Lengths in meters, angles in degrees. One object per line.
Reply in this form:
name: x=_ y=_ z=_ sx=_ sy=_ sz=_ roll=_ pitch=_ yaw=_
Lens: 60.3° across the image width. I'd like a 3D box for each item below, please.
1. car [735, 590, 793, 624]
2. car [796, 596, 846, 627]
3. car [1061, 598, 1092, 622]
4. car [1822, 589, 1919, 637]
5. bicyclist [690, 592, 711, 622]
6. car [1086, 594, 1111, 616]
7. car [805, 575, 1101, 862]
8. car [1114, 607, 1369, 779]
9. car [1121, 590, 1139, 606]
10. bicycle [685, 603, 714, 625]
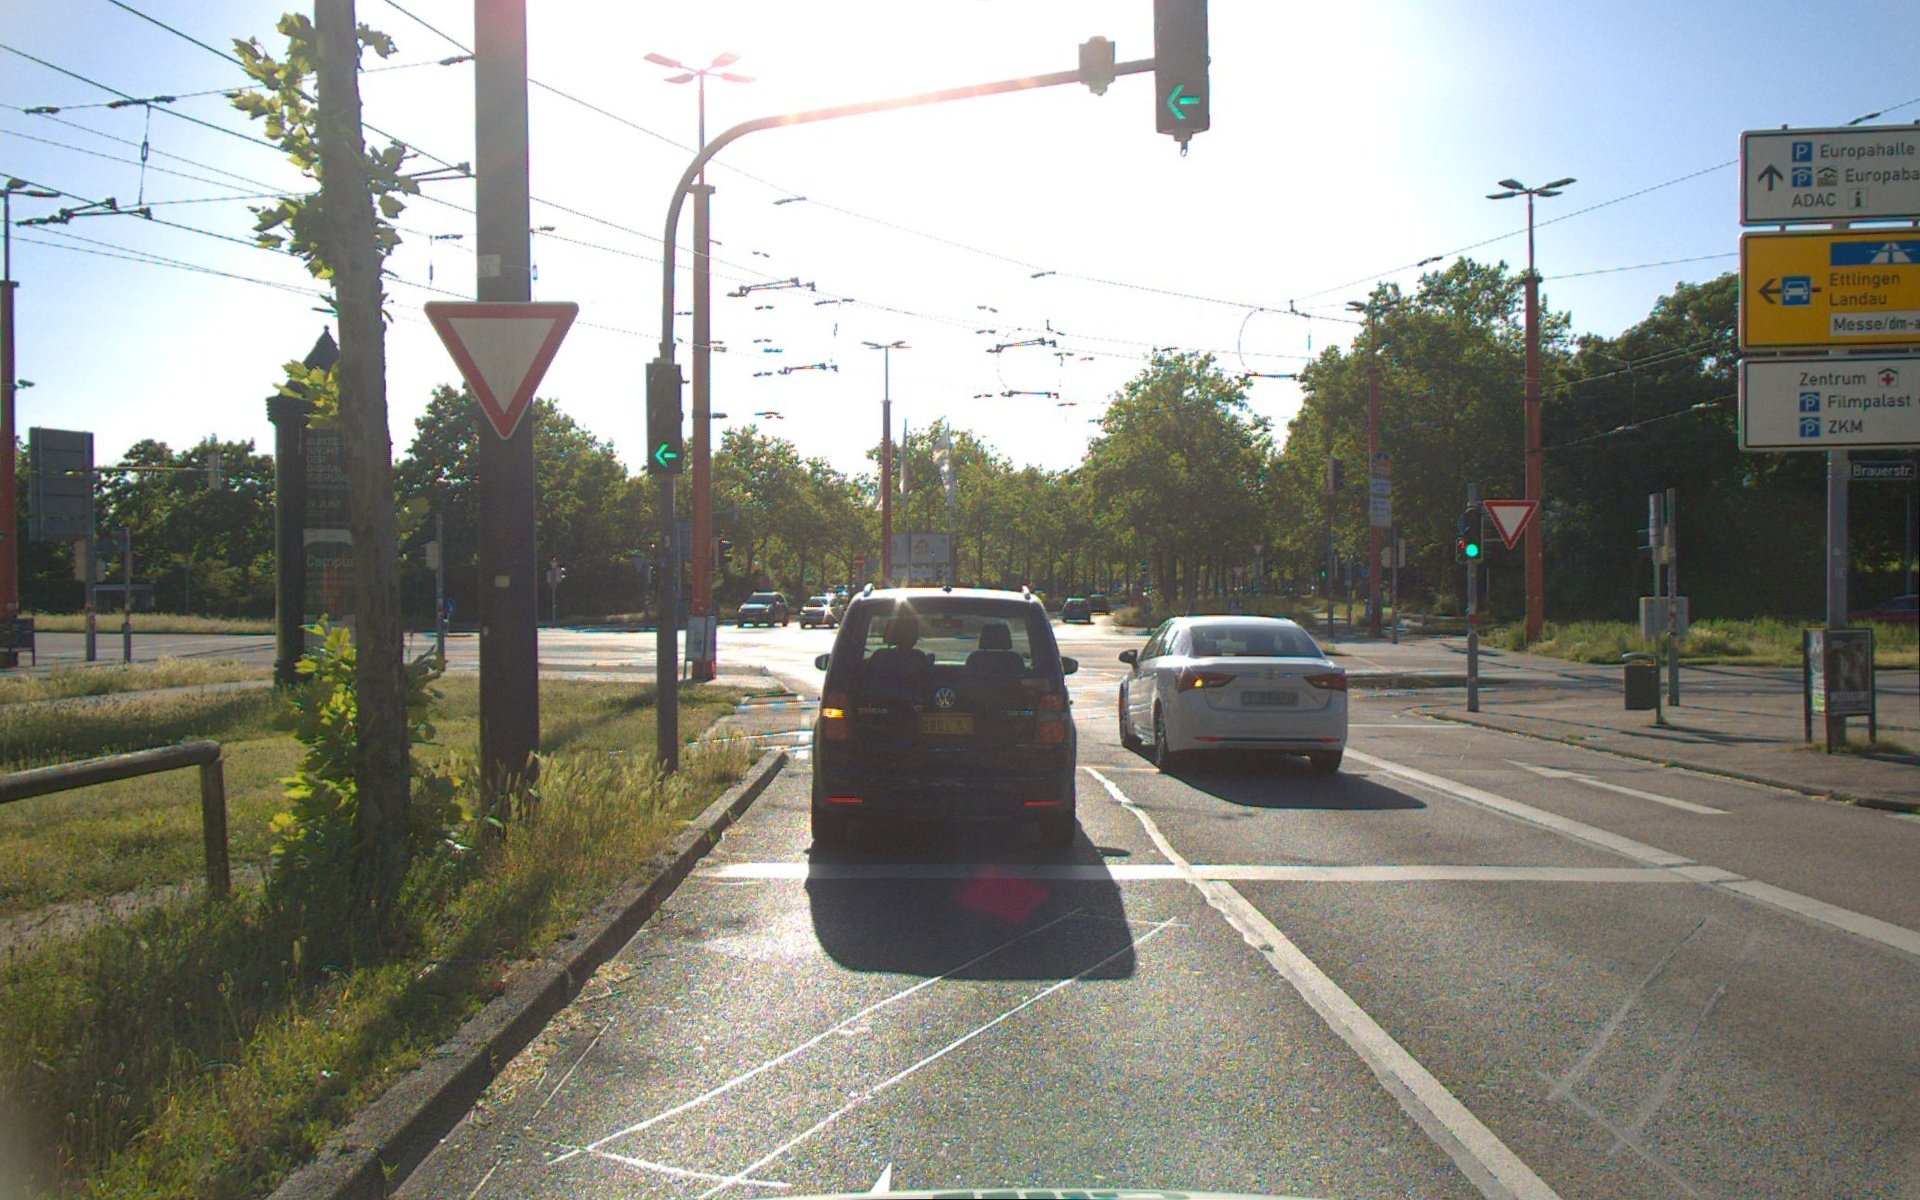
car: x=-10.371 y=0.331 z=87.891 sx=1.861 sy=1.757 sz=4.657 roll=0 pitch=0 yaw=9
car: x=-7.177 y=0.560 z=85.619 sx=1.730 sy=1.565 sz=4.094 roll=0 pitch=0 yaw=8
car: x=7.189 y=0.612 z=101.828 sx=1.752 sy=1.412 sz=4.052 roll=1 pitch=1 yaw=6
car: x=30.441 y=0.406 z=53.823 sx=4.191 sy=1.521 sz=1.998 roll=0 pitch=0 yaw=26
bicyclist: x=-13.892 y=0.380 z=88.463 sx=0.743 sy=1.585 sz=0.982 roll=-1 pitch=1 yaw=15
car: x=10.722 y=0.404 z=128.530 sx=1.833 sy=1.655 sz=4.002 roll=1 pitch=-1 yaw=4
car: x=-0.100 y=0.680 z=12.159 sx=1.732 sy=1.673 sz=4.922 roll=0 pitch=0 yaw=-1
car: x=2.726 y=0.838 z=16.978 sx=1.732 sy=1.489 sz=4.364 roll=0 pitch=0 yaw=-2
car: x=17.122 y=-0.185 z=166.556 sx=1.752 sy=1.528 sz=4.053 roll=1 pitch=1 yaw=7
bicycle: x=-13.910 y=0.731 z=88.387 sx=0.747 sy=1.110 sz=2.017 roll=-1 pitch=1 yaw=15
